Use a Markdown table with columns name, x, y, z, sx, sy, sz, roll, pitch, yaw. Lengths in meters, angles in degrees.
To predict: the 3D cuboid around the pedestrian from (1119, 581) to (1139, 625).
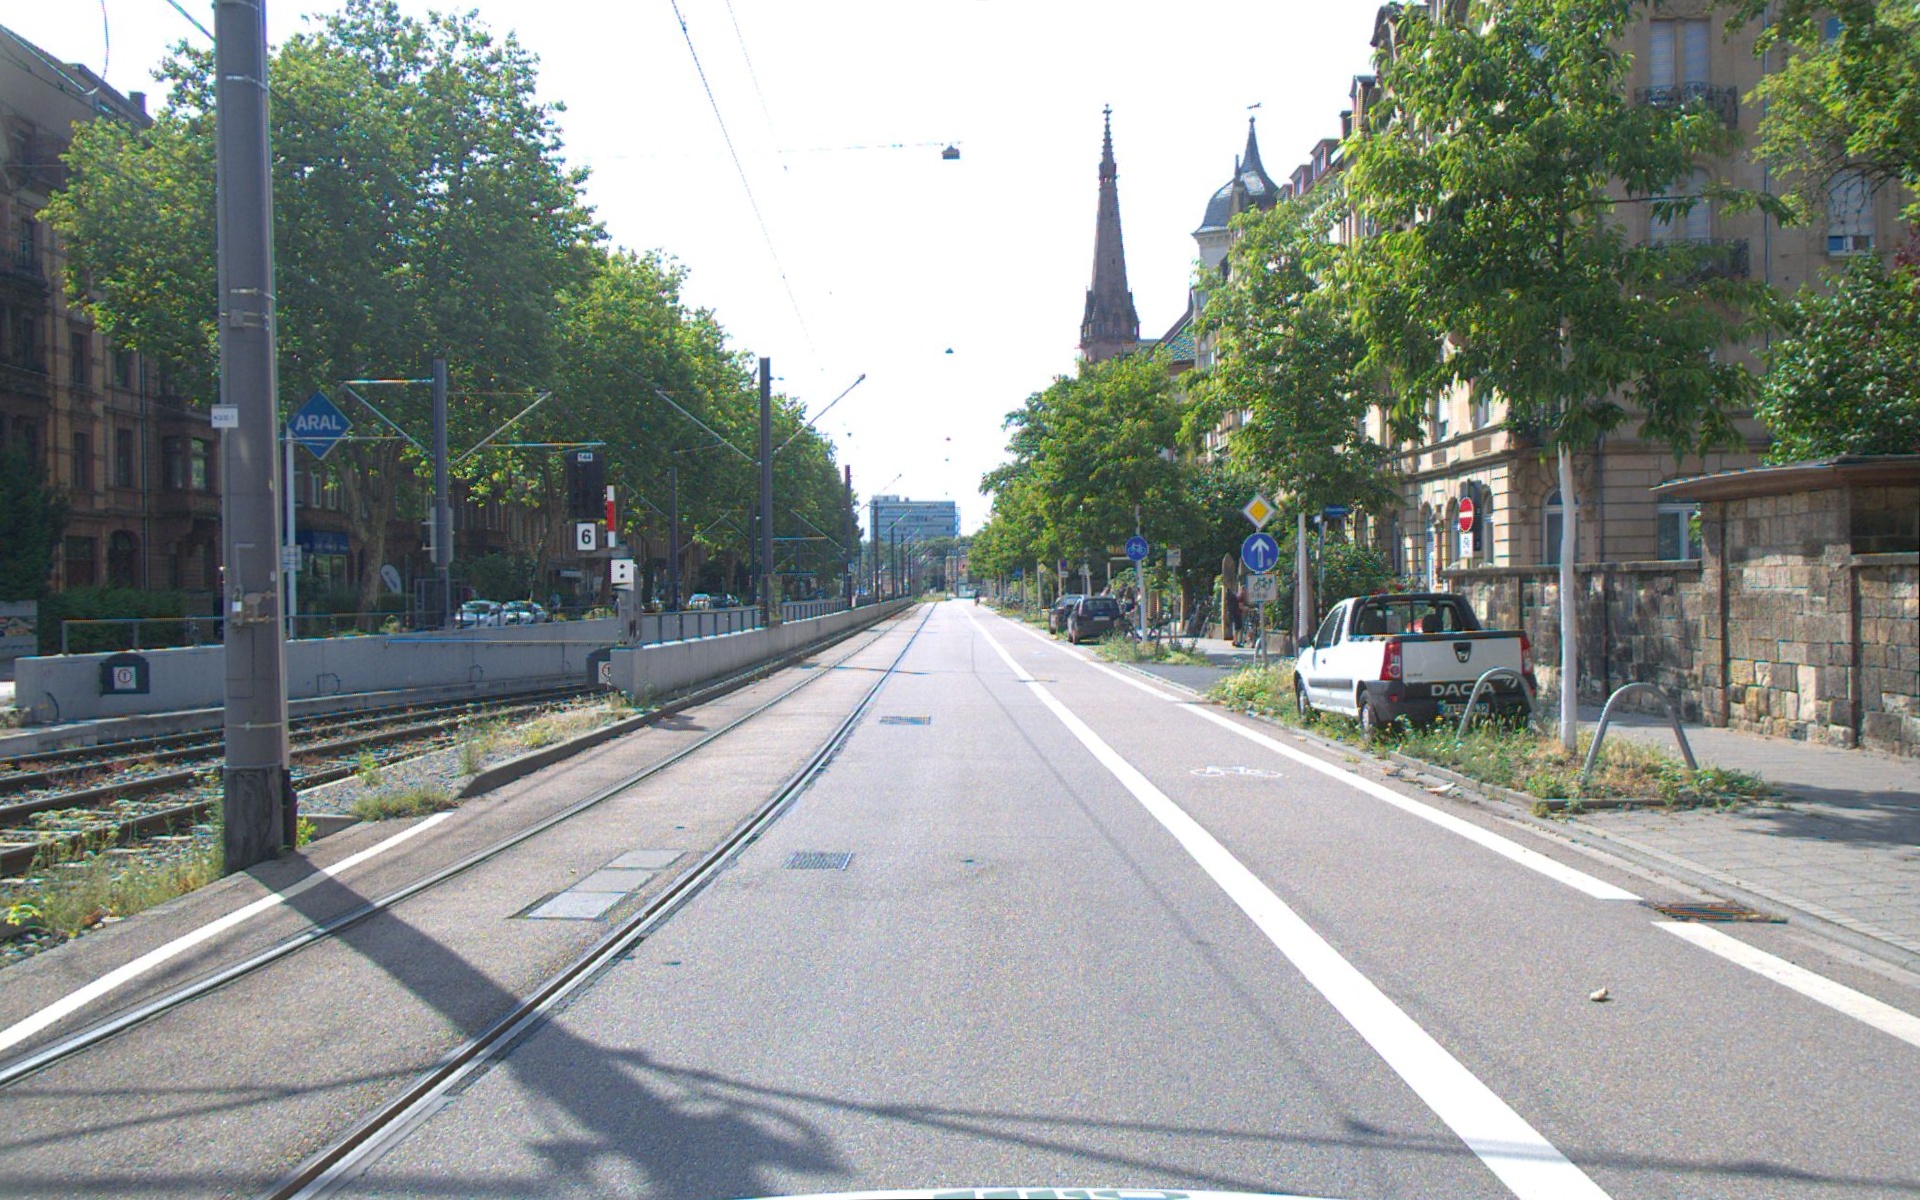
| name | x | y | z | sx | sy | sz | roll | pitch | yaw |
| --- | --- | --- | --- | --- | --- | --- | --- | --- | --- |
| pedestrian | 6.628 | 0.111 | 64.877 | 0.520 | 1.705 | 0.571 | -3 | 0 | -19 |

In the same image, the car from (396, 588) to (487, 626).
| name | x | y | z | sx | sy | sz | roll | pitch | yaw |
| --- | --- | --- | --- | --- | --- | --- | --- | --- | --- |
| car | -28.199 | 0.372 | 90.055 | 4.313 | 1.952 | 1.999 | -1 | 0 | -2 |

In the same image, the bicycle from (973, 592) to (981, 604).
| name | x | y | z | sx | sy | sz | roll | pitch | yaw |
| --- | --- | --- | --- | --- | --- | --- | --- | --- | --- |
| bicycle | 1.745 | -0.223 | 167.152 | 0.782 | 1.258 | 2.777 | -1 | 0 | 0 |

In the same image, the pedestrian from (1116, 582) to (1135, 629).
| name | x | y | z | sx | sy | sz | roll | pitch | yaw |
| --- | --- | --- | --- | --- | --- | --- | --- | --- | --- |
| pedestrian | 6.672 | 0.230 | 66.718 | 0.656 | 1.836 | 0.319 | -3 | 0 | -2 |

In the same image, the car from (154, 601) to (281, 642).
| name | x | y | z | sx | sy | sz | roll | pitch | yaw |
| --- | --- | --- | --- | --- | --- | --- | --- | --- | --- |
| car | -28.203 | 0.803 | 62.930 | 3.904 | 1.509 | 2.000 | -1 | 0 | 1 |

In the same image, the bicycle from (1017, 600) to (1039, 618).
| name | x | y | z | sx | sy | sz | roll | pitch | yaw |
| --- | --- | --- | --- | --- | --- | --- | --- | --- | --- |
| bicycle | 4.333 | 0.578 | 105.409 | 0.640 | 1.057 | 1.810 | -3 | 1 | -21 |

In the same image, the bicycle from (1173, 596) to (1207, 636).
| name | x | y | z | sx | sy | sz | roll | pitch | yaw |
| --- | --- | --- | --- | --- | --- | --- | --- | --- | --- |
| bicycle | 7.739 | 0.510 | 55.736 | 0.644 | 1.270 | 2.942 | -3 | 0 | 0 |

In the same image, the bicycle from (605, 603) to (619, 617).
| name | x | y | z | sx | sy | sz | roll | pitch | yaw |
| --- | --- | --- | --- | --- | --- | --- | --- | --- | --- |
| bicycle | -23.506 | 0.689 | 111.677 | 0.524 | 0.929 | 2.148 | -1 | 0 | 0 |

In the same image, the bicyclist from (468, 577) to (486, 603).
| name | x | y | z | sx | sy | sz | roll | pitch | yaw |
| --- | --- | --- | --- | --- | --- | --- | --- | --- | --- |
| bicyclist | -26.972 | -0.562 | 92.360 | 0.674 | 1.481 | 1.044 | -1 | 0 | -1 |

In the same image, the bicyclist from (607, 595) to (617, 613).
| name | x | y | z | sx | sy | sz | roll | pitch | yaw |
| --- | --- | --- | --- | --- | --- | --- | --- | --- | --- |
| bicyclist | -23.510 | 0.270 | 111.689 | 0.524 | 1.253 | 0.723 | -1 | 0 | -1 |

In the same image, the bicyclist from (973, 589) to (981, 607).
| name | x | y | z | sx | sy | sz | roll | pitch | yaw |
| --- | --- | --- | --- | --- | --- | --- | --- | --- | --- |
| bicyclist | 1.748 | -0.220 | 167.123 | 0.755 | 1.760 | 1.026 | -1 | 0 | 0 |

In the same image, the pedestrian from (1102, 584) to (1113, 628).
| name | x | y | z | sx | sy | sz | roll | pitch | yaw |
| --- | --- | --- | --- | --- | --- | --- | --- | --- | --- |
| pedestrian | 5.926 | 0.228 | 66.399 | 0.311 | 1.736 | 0.461 | -3 | 0 | 13 |

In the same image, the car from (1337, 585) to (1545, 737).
| name | x | y | z | sx | sy | sz | roll | pitch | yaw |
| --- | --- | --- | --- | --- | --- | --- | --- | --- | --- |
| car | 5.166 | 0.580 | 18.204 | 1.633 | 1.441 | 3.847 | 1 | 1 | 8 |

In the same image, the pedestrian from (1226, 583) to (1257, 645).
| name | x | y | z | sx | sy | sz | roll | pitch | yaw |
| --- | --- | --- | --- | --- | --- | --- | --- | --- | --- |
| pedestrian | 7.631 | 0.383 | 44.854 | 0.708 | 1.657 | 0.725 | -1 | 0 | -1 |

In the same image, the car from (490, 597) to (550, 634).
| name | x | y | z | sx | sy | sz | roll | pitch | yaw |
| --- | --- | --- | --- | --- | --- | --- | --- | --- | --- |
| car | -19.625 | 0.667 | 73.871 | 1.610 | 1.508 | 4.001 | -3 | 1 | -1 |

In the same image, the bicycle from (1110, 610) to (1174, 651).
| name | x | y | z | sx | sy | sz | roll | pitch | yaw |
| --- | --- | --- | --- | --- | --- | --- | --- | --- | --- |
| bicycle | 4.977 | 0.827 | 45.362 | 1.673 | 1.088 | 0.470 | -1 | 0 | -7 |

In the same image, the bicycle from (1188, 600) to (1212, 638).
| name | x | y | z | sx | sy | sz | roll | pitch | yaw |
| --- | --- | --- | --- | --- | --- | --- | --- | --- | --- |
| bicycle | 7.665 | 0.605 | 52.879 | 0.419 | 1.159 | 2.023 | -3 | 0 | 0 |

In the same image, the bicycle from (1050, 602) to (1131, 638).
| name | x | y | z | sx | sy | sz | roll | pitch | yaw |
| --- | --- | --- | --- | --- | --- | --- | --- | --- | --- |
| bicycle | 4.810 | 0.716 | 60.946 | 2.896 | 1.268 | 0.790 | -1 | 0 | -14 |

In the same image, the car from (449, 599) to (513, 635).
| name | x | y | z | sx | sy | sz | roll | pitch | yaw |
| --- | --- | --- | --- | --- | --- | --- | --- | --- | --- |
| car | -19.562 | 0.676 | 67.650 | 1.466 | 1.326 | 3.492 | -3 | 1 | 2 |

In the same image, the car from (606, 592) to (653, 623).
| name | x | y | z | sx | sy | sz | roll | pitch | yaw |
| --- | --- | --- | --- | --- | --- | --- | --- | --- | --- |
| car | -19.963 | 0.447 | 100.122 | 1.682 | 1.720 | 3.733 | -3 | 1 | 6 |

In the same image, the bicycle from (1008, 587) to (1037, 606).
| name | x | y | z | sx | sy | sz | roll | pitch | yaw |
| --- | --- | --- | --- | --- | --- | --- | --- | --- | --- |
| bicycle | 4.164 | -0.242 | 110.577 | 1.784 | 1.165 | 0.650 | -3 | 1 | -12 |

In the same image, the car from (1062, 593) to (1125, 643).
| name | x | y | z | sx | sy | sz | roll | pitch | yaw |
| --- | --- | --- | --- | --- | --- | --- | --- | --- | --- |
| car | 4.351 | 0.551 | 54.441 | 1.651 | 1.528 | 4.708 | -1 | 1 | 0 |

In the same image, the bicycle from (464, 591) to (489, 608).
| name | x | y | z | sx | sy | sz | roll | pitch | yaw |
| --- | --- | --- | --- | --- | --- | --- | --- | --- | --- |
| bicycle | -26.979 | -0.029 | 92.302 | 0.657 | 0.929 | 2.368 | -1 | 0 | 0 |

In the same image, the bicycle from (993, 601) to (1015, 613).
| name | x | y | z | sx | sy | sz | roll | pitch | yaw |
| --- | --- | --- | --- | --- | --- | --- | --- | --- | --- |
| bicycle | 3.735 | 0.595 | 139.415 | 1.780 | 0.918 | 0.603 | -3 | 1 | -4 |

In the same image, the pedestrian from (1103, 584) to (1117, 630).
| name | x | y | z | sx | sy | sz | roll | pitch | yaw |
| --- | --- | --- | --- | --- | --- | --- | --- | --- | --- |
| pedestrian | 6.068 | 0.271 | 66.905 | 0.450 | 1.836 | 0.319 | -3 | 0 | -2 |

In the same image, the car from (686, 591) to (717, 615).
| name | x | y | z | sx | sy | sz | roll | pitch | yaw |
| --- | --- | --- | --- | --- | --- | --- | --- | --- | --- |
| car | -20.717 | 0.259 | 132.716 | 1.801 | 1.758 | 4.000 | -3 | 1 | 0 |

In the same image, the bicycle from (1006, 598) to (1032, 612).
| name | x | y | z | sx | sy | sz | roll | pitch | yaw |
| --- | --- | --- | --- | --- | --- | --- | --- | --- | --- |
| bicycle | 4.390 | 0.382 | 123.225 | 1.780 | 0.918 | 0.651 | -3 | 1 | -4 |

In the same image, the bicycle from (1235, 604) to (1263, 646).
| name | x | y | z | sx | sy | sz | roll | pitch | yaw |
| --- | --- | --- | --- | --- | --- | --- | --- | --- | --- |
| bicycle | 7.839 | 0.667 | 44.900 | 0.460 | 1.127 | 1.711 | -1 | 0 | 0 |

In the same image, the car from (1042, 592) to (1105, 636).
| name | x | y | z | sx | sy | sz | roll | pitch | yaw |
| --- | --- | --- | --- | --- | --- | --- | --- | --- | --- |
| car | 4.381 | 0.512 | 64.459 | 1.763 | 1.553 | 4.486 | -3 | 1 | -4 |

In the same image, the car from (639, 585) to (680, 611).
| name | x | y | z | sx | sy | sz | roll | pitch | yaw |
| --- | --- | --- | --- | --- | --- | --- | --- | --- | --- |
| car | -20.792 | -0.145 | 114.526 | 1.952 | 1.665 | 4.001 | -3 | 1 | 2 |
